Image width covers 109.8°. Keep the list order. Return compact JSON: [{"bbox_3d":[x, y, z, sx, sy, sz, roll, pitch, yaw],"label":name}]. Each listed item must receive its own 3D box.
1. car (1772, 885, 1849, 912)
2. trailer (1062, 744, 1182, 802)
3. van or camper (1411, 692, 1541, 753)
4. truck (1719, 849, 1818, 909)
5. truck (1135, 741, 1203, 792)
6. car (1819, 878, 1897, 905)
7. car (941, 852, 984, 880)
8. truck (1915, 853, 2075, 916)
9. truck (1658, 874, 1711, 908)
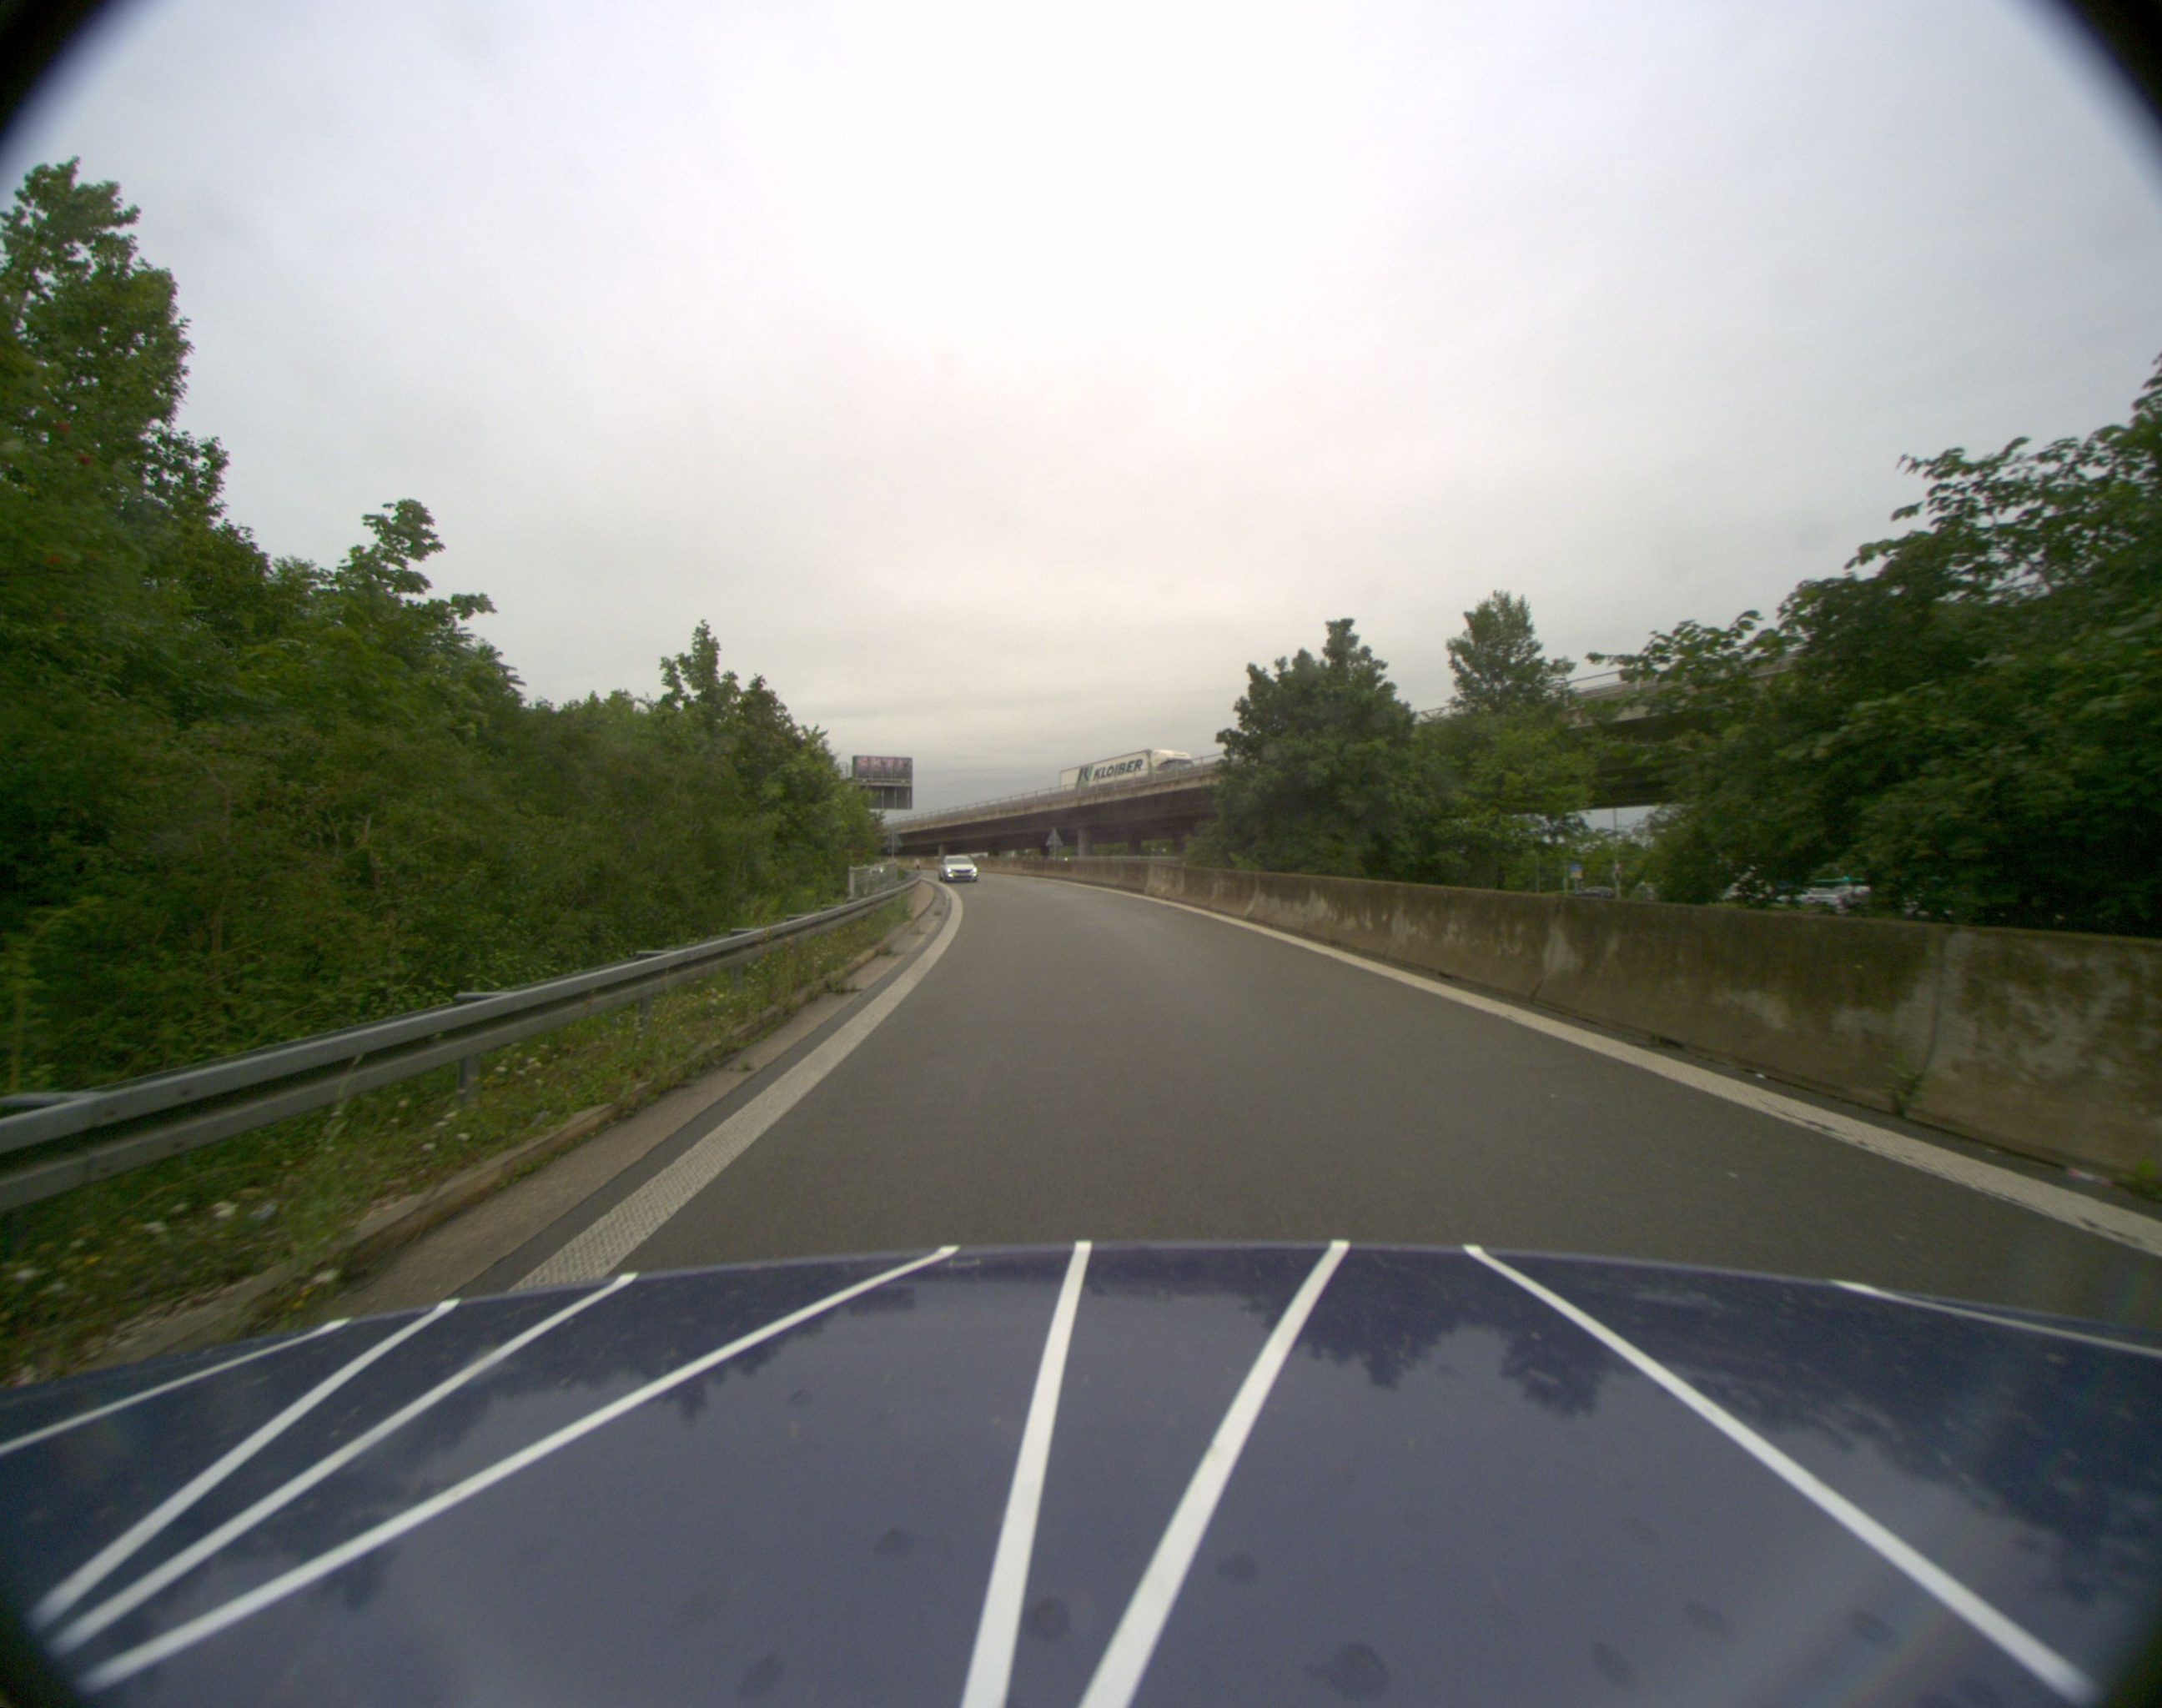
[{"bbox_3d":[48.923,2.924,51.081,1.971,1.573,4.599,1,-1,19],"label":"car"},{"bbox_3d":[3.172,-6.740,65.731,2.671,3.278,14.028,-1,-1,-32],"label":"trailer"},{"bbox_3d":[20.023,-6.597,38.825,2.335,2.001,5.495,0,-1,-31],"label":"van or camper"},{"bbox_3d":[56.750,2.005,63.062,2.792,4.564,9.619,1,-1,22],"label":"truck"},{"bbox_3d":[6.883,-6.843,59.975,2.601,3.226,5.182,-1,-1,-33],"label":"truck"},{"bbox_3d":[51.904,2.466,50.894,1.970,1.573,4.599,1,-1,22],"label":"car"},{"bbox_3d":[-6.719,0.617,42.678,1.917,1.439,4.550,-1,1,-15],"label":"car"},{"bbox_3d":[47.718,1.566,40.008,2.254,2.959,7.247,1,-1,23],"label":"truck"},{"bbox_3d":[68.700,4.156,86.643,2.792,3.658,6.655,1,-1,22],"label":"truck"}]
